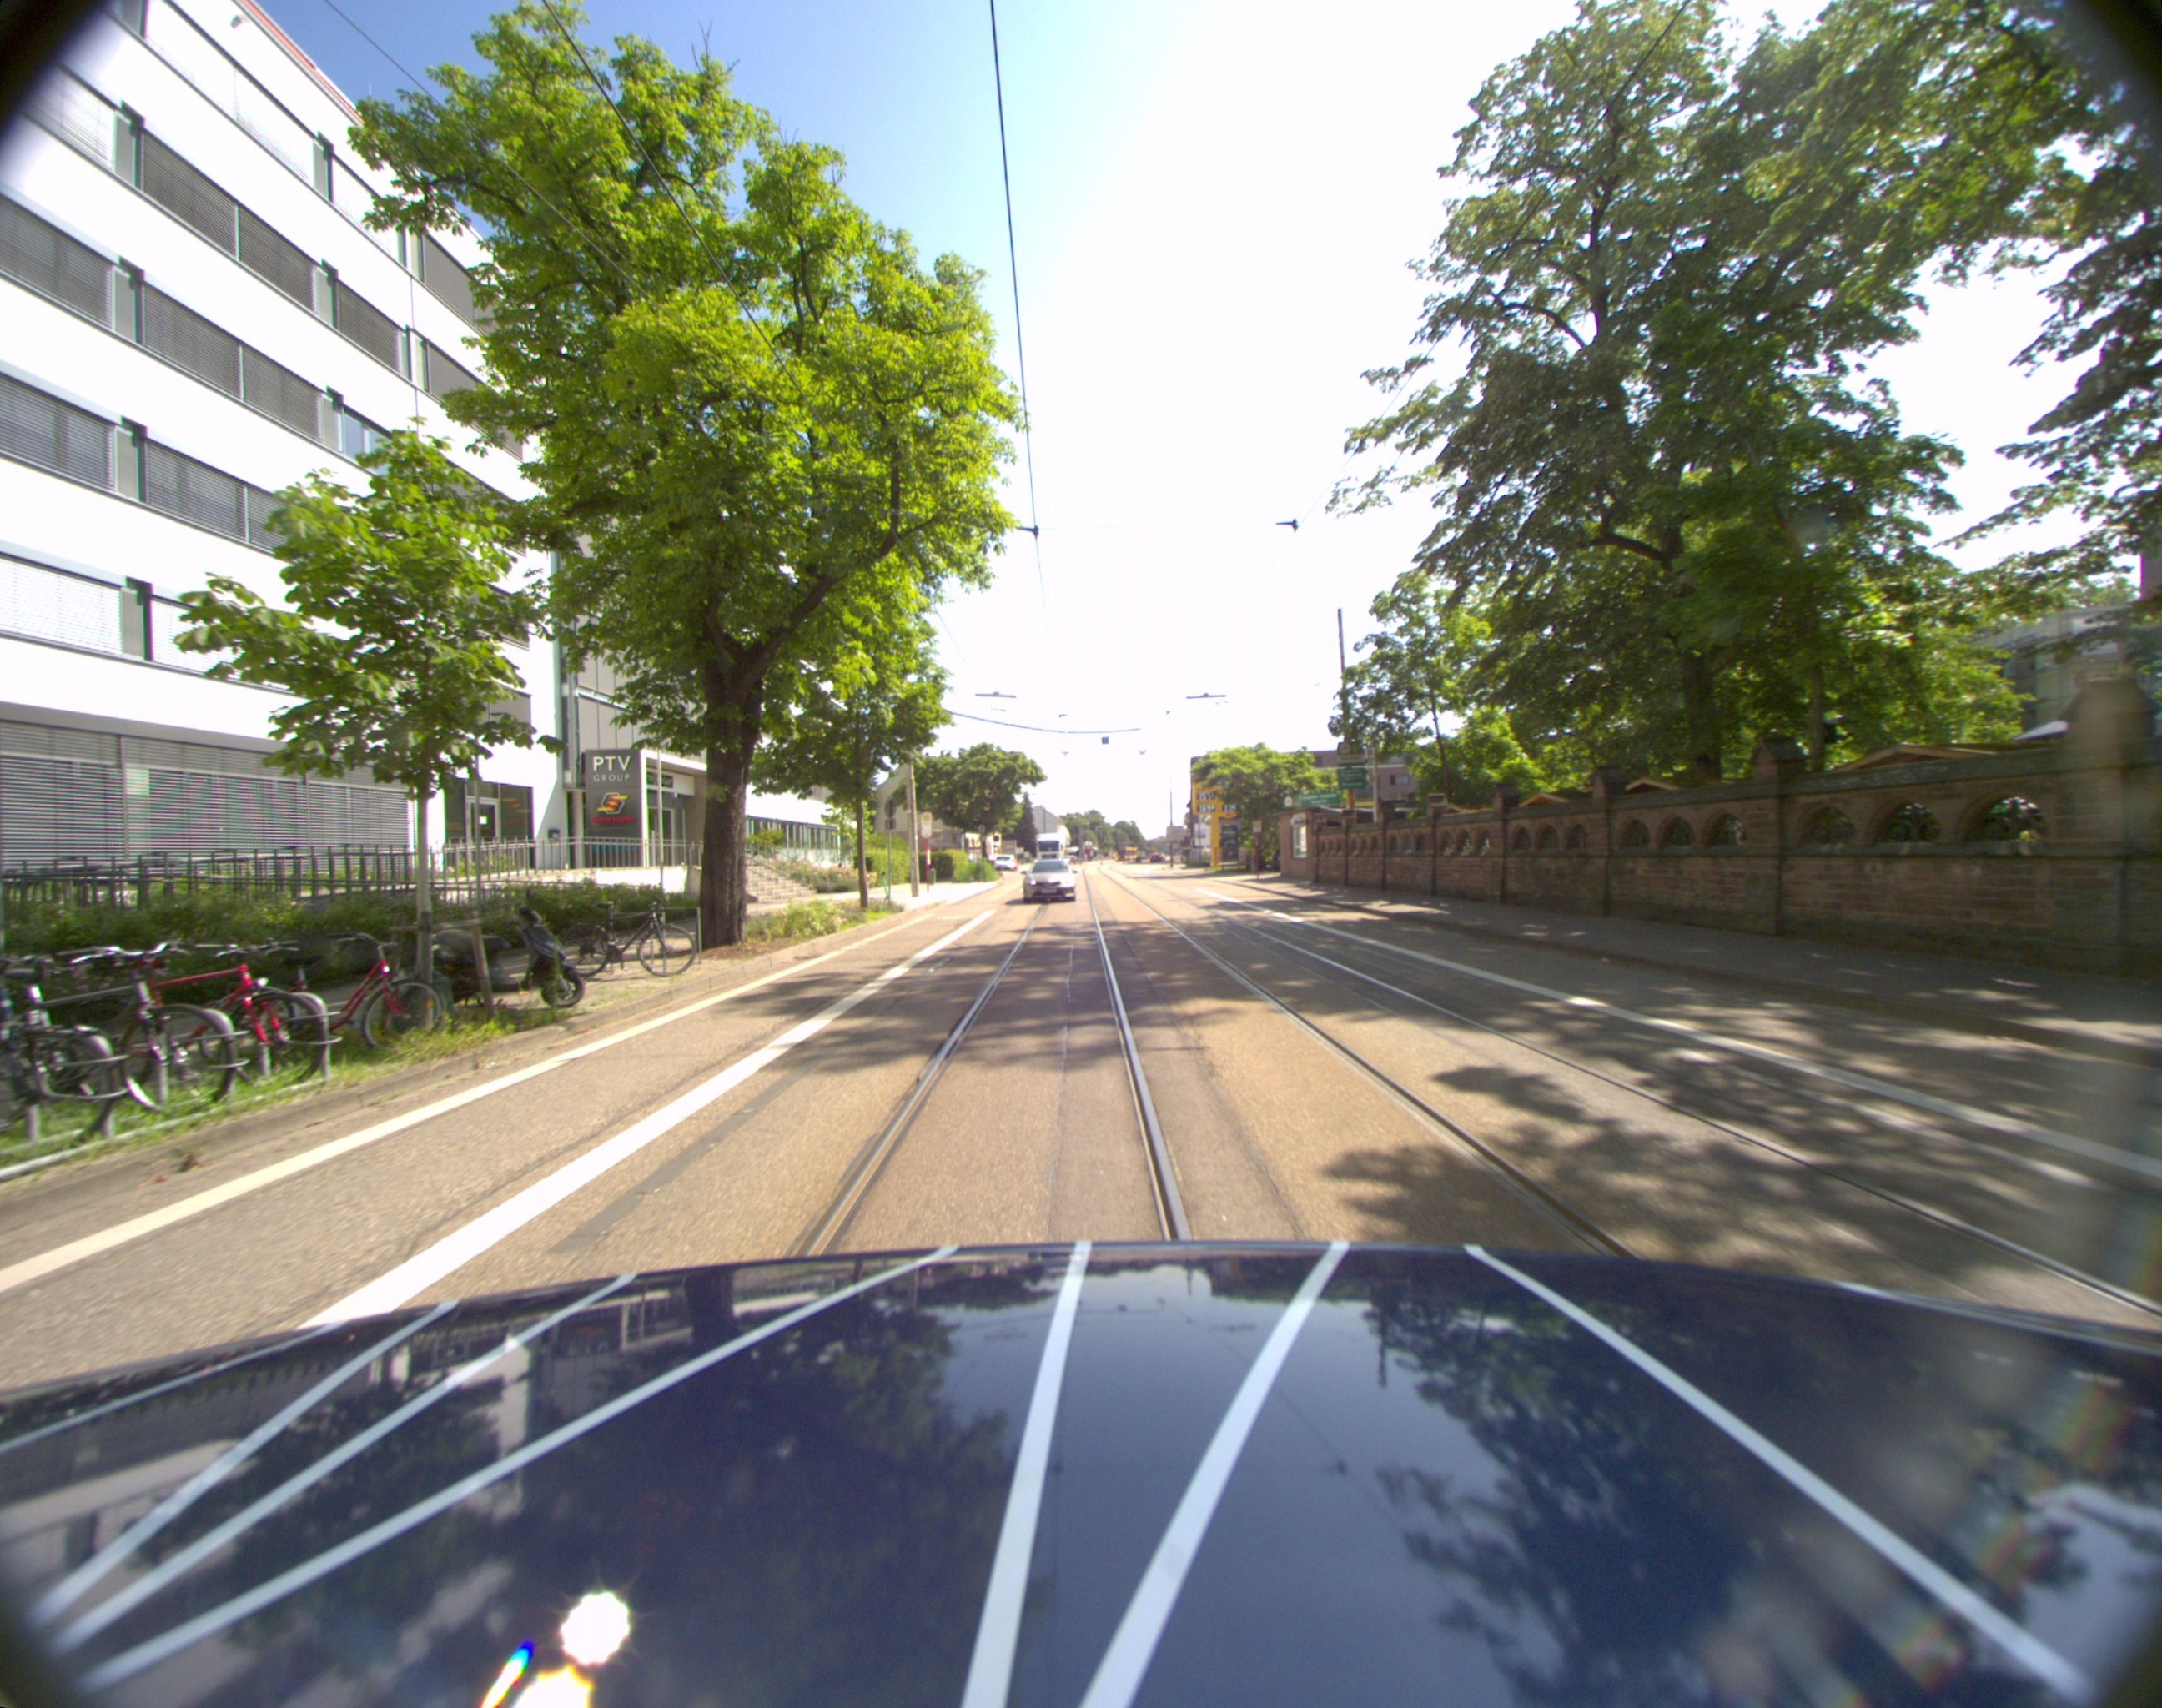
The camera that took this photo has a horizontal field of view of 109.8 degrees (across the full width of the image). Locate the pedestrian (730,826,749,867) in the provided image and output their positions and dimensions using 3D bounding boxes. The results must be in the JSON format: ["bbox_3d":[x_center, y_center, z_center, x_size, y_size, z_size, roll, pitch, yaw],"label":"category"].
[{"bbox_3d":[-14.605,-0.313,32.489,0.500,1.718,0.547,-2,1,-1],"label":"pedestrian"}]

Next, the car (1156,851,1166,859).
[{"bbox_3d":[17.449,0.232,165.581,1.804,1.718,4.191,-3,0,8],"label":"car"}]

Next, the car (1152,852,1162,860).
[{"bbox_3d":[14.761,0.341,147.293,1.750,1.562,3.892,0,1,4],"label":"car"}]

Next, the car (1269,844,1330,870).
[{"bbox_3d":[14.691,0.182,51.049,1.944,1.615,4.587,-1,1,45],"label":"car"}]

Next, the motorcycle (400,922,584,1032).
[{"bbox_3d":[-6.180,1.281,8.022,1.469,1.040,0.534,-1,1,-2],"label":"motorcycle"}]

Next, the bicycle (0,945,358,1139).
[{"bbox_3d":[-6.209,1.251,5.178,1.917,1.076,0.550,-3,1,-2],"label":"bicycle"}]

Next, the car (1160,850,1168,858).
[{"bbox_3d":[19.346,0.003,176.808,1.715,1.613,3.581,-3,0,8],"label":"car"}]

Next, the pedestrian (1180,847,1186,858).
[{"bbox_3d":[17.153,-0.275,127.916,0.846,1.808,0.839,-2,0,8],"label":"pedestrian"}]

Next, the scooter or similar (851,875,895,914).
[{"bbox_3d":[-6.334,1.229,23.118,1.145,1.147,0.493,-2,1,6],"label":"scooter or similar"}]

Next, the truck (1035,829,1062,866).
[{"bbox_3d":[-3.397,-0.691,82.144,2.657,3.772,7.862,-1,0,-1],"label":"truck"}]

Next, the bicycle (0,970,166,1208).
[{"bbox_3d":[-6.146,1.255,3.966,1.917,1.076,0.550,-4,1,-2],"label":"bicycle"}]

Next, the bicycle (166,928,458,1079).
[{"bbox_3d":[-6.438,1.229,6.426,1.779,1.113,0.596,-1,1,-2],"label":"bicycle"}]

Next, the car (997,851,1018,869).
[{"bbox_3d":[-8.580,0.690,88.995,1.981,2.043,5.191,0,0,1],"label":"car"}]

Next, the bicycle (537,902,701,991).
[{"bbox_3d":[-6.150,1.225,10.174,1.779,1.076,0.596,-1,1,-2],"label":"bicycle"}]

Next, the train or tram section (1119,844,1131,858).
[{"bbox_3d":[11.056,-0.764,192.007,2.685,3.460,13.342,-1,0,4],"label":"train or tram section"}]

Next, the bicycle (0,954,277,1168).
[{"bbox_3d":[-6.168,1.247,4.579,1.917,1.076,0.550,-4,1,-2],"label":"bicycle"}]

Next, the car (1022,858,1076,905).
[{"bbox_3d":[-1.108,0.889,26.809,1.696,1.440,4.480,-2,0,-2],"label":"car"}]
